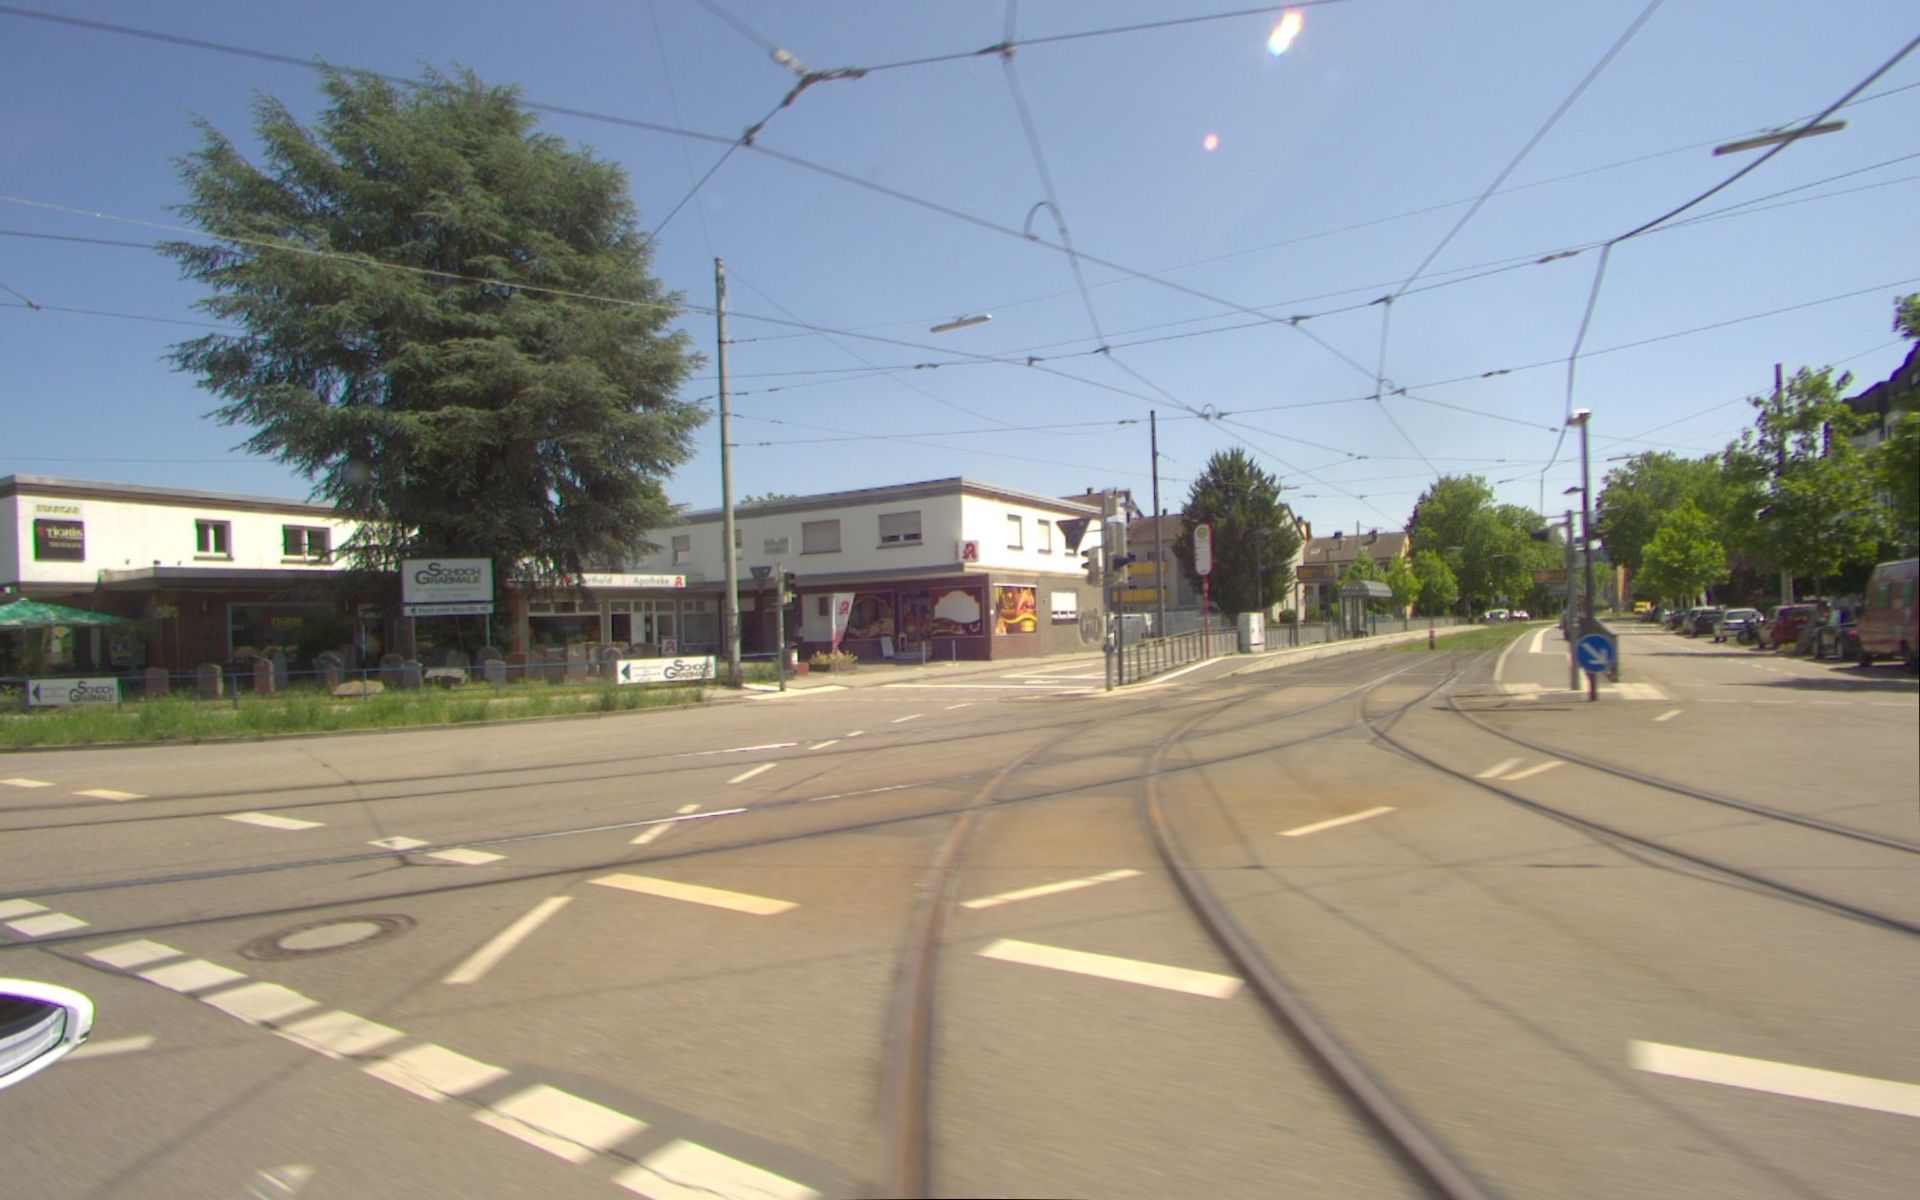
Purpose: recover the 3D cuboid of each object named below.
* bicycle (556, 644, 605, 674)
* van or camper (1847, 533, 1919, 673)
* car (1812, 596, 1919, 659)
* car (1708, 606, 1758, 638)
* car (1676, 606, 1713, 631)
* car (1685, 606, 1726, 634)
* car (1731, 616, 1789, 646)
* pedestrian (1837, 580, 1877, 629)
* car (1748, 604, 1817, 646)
[{"bbox_3d":[-15.974,2.485,42.139,0.592,1.206,1.861,-5,-4,42],"label":"bicycle"},{"bbox_3d":[21.389,0.048,21.649,2.176,2.801,5.217,-2,-2,30],"label":"van or camper"},{"bbox_3d":[24.558,0.719,27.015,1.654,1.567,3.789,-3,-2,30],"label":"car"},{"bbox_3d":[34.914,0.988,45.297,1.431,1.371,3.345,-3,-2,32],"label":"car"},{"bbox_3d":[42.477,1.083,57.972,1.431,1.371,3.346,-3,-2,32],"label":"car"},{"bbox_3d":[39.735,1.052,53.429,1.431,1.371,3.345,-3,-2,32],"label":"car"},{"bbox_3d":[32.399,1.235,40.627,1.431,1.094,3.345,-3,-2,32],"label":"car"},{"bbox_3d":[35.127,0.175,39.220,0.914,1.854,1.071,-3,-1,31],"label":"pedestrian"},{"bbox_3d":[29.461,0.888,35.927,1.431,1.398,3.346,-3,-2,32],"label":"car"}]
